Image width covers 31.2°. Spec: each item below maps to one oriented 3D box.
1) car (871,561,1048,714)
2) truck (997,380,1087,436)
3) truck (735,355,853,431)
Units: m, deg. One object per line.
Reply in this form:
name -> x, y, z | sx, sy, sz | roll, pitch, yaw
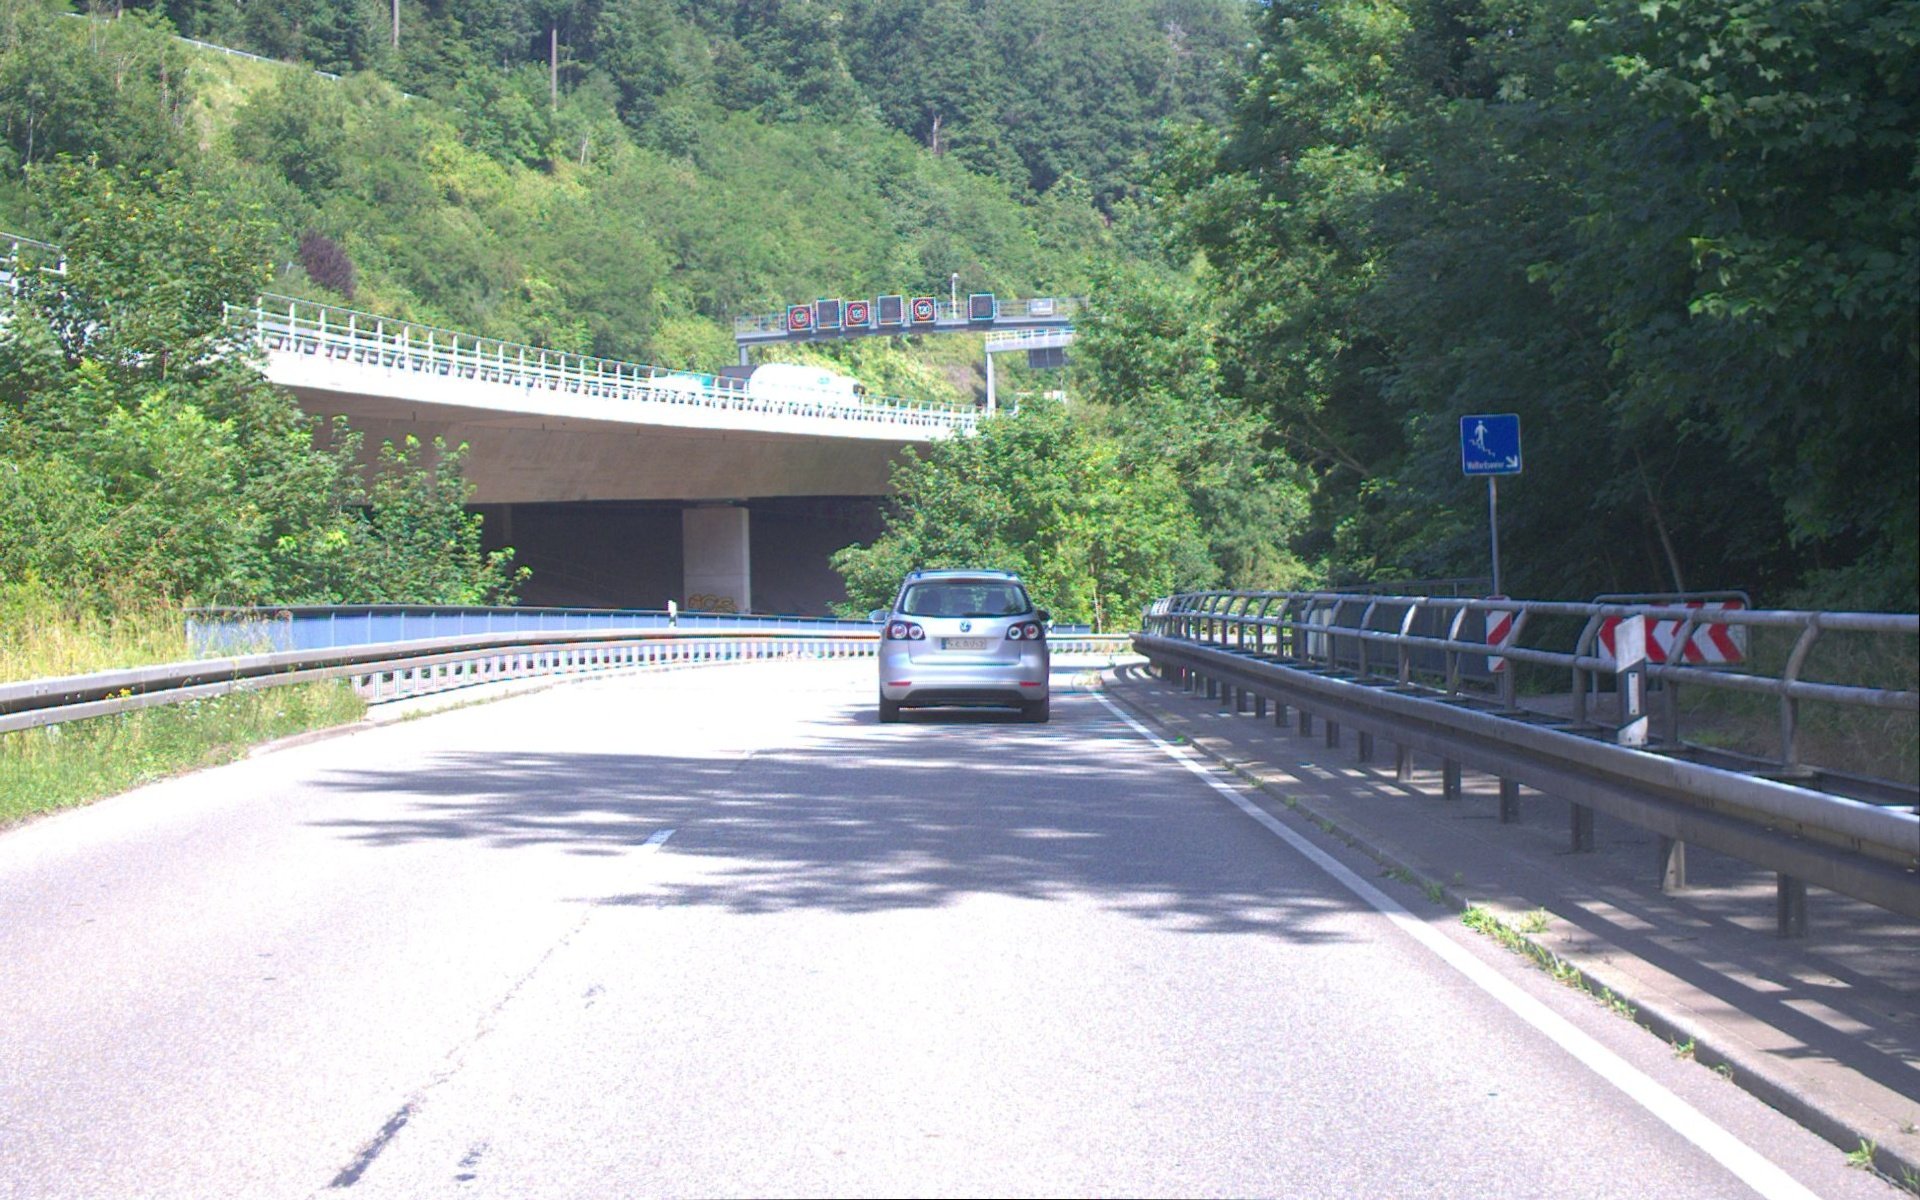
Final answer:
car -> -0.021, 0.348, 36.085 | 1.751, 1.515, 4.159 | 0, 1, 0
truck -> 5.483, -12.660, 227.158 | 3.761, 3.373, 10.501 | 1, 2, 14
truck -> -8.092, -10.129, 169.275 | 3.372, 3.343, 10.171 | 1, 1, 12
